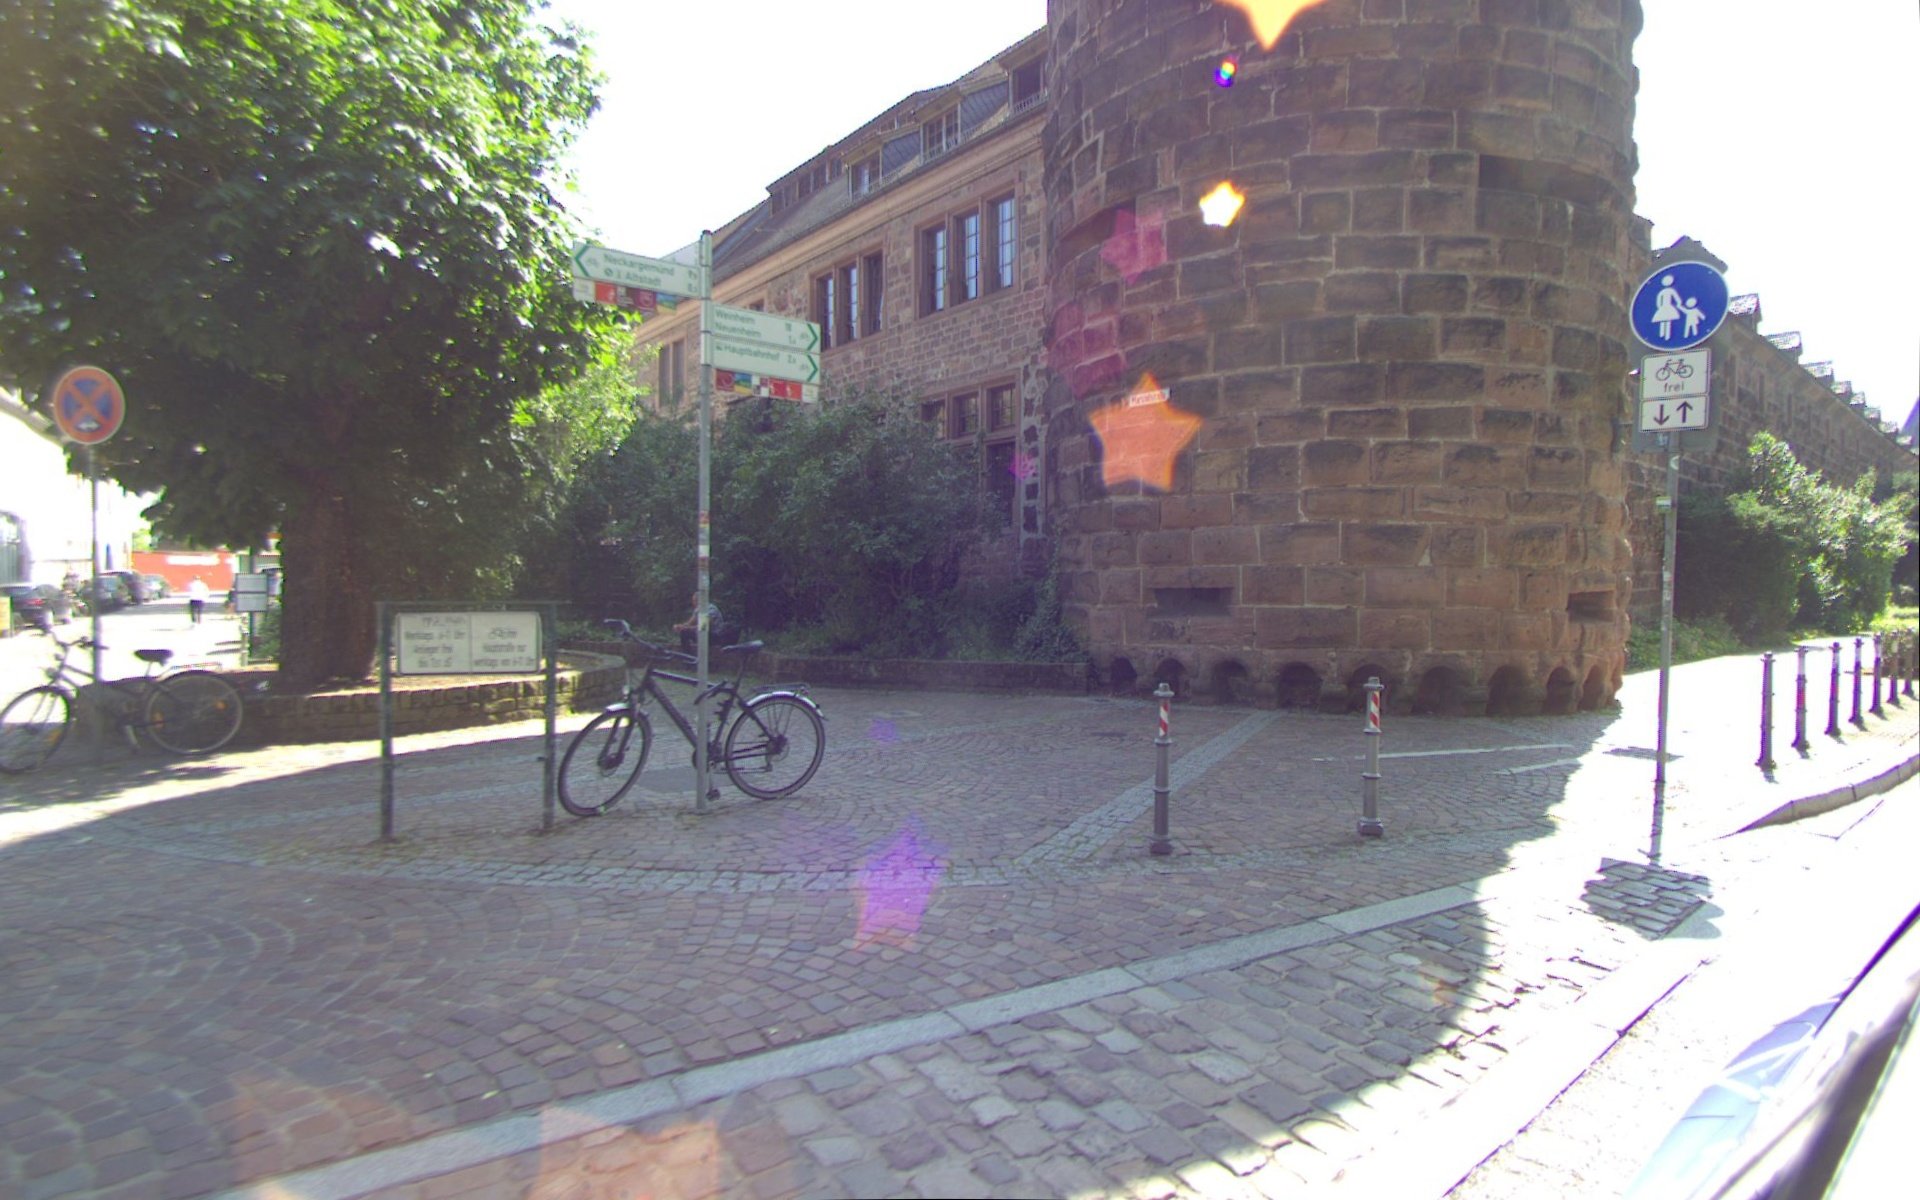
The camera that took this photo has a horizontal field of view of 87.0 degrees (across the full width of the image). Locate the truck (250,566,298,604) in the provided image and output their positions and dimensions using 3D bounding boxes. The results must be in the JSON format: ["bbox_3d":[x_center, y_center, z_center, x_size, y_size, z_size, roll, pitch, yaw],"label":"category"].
[{"bbox_3d":[-39.165,-0.860,57.858,1.961,1.995,4.002,-2,0,-31],"label":"truck"}]

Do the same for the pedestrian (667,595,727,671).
[{"bbox_3d":[-3.933,0.487,15.135,0.638,1.082,0.630,-1,-1,-41],"label":"pedestrian"}]

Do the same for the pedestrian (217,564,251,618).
[{"bbox_3d":[-27.851,-0.341,38.813,1.006,2.039,0.977,-1,-1,-38],"label":"pedestrian"}]

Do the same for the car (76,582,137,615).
[{"bbox_3d":[-41.548,-0.051,49.343,1.963,1.431,3.998,-2,0,-36],"label":"car"}]

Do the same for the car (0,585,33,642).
[{"bbox_3d":[-26.833,0.360,27.816,1.462,1.473,3.163,-1,2,-33],"label":"car"}]

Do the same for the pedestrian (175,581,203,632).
[{"bbox_3d":[-24.966,0.198,32.778,0.707,1.606,0.726,-1,2,-37],"label":"pedestrian"}]

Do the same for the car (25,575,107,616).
[{"bbox_3d":[-34.912,-0.162,39.622,1.963,1.431,3.999,-2,0,-35],"label":"car"}]

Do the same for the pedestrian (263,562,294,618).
[{"bbox_3d":[-25.665,-0.380,38.107,0.864,2.039,0.741,-1,-1,-41],"label":"pedestrian"}]

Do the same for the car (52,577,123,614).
[{"bbox_3d":[-37.902,-0.168,44.055,1.963,1.431,3.998,-2,0,-36],"label":"car"}]

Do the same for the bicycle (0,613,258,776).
[{"bbox_3d":[-6.672,0.708,8.116,1.698,1.177,0.447,0,0,-37],"label":"bicycle"}]

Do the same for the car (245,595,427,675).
[{"bbox_3d":[-16.327,0.876,26.550,3.925,1.843,1.734,-2,-1,-35],"label":"car"}]

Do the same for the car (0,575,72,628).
[{"bbox_3d":[-30.315,0.024,32.779,1.963,1.610,3.999,-2,1,-36],"label":"car"}]

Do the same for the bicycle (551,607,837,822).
[{"bbox_3d":[-1.608,0.658,6.306,1.733,1.219,0.194,0,-1,-29],"label":"bicycle"}]
